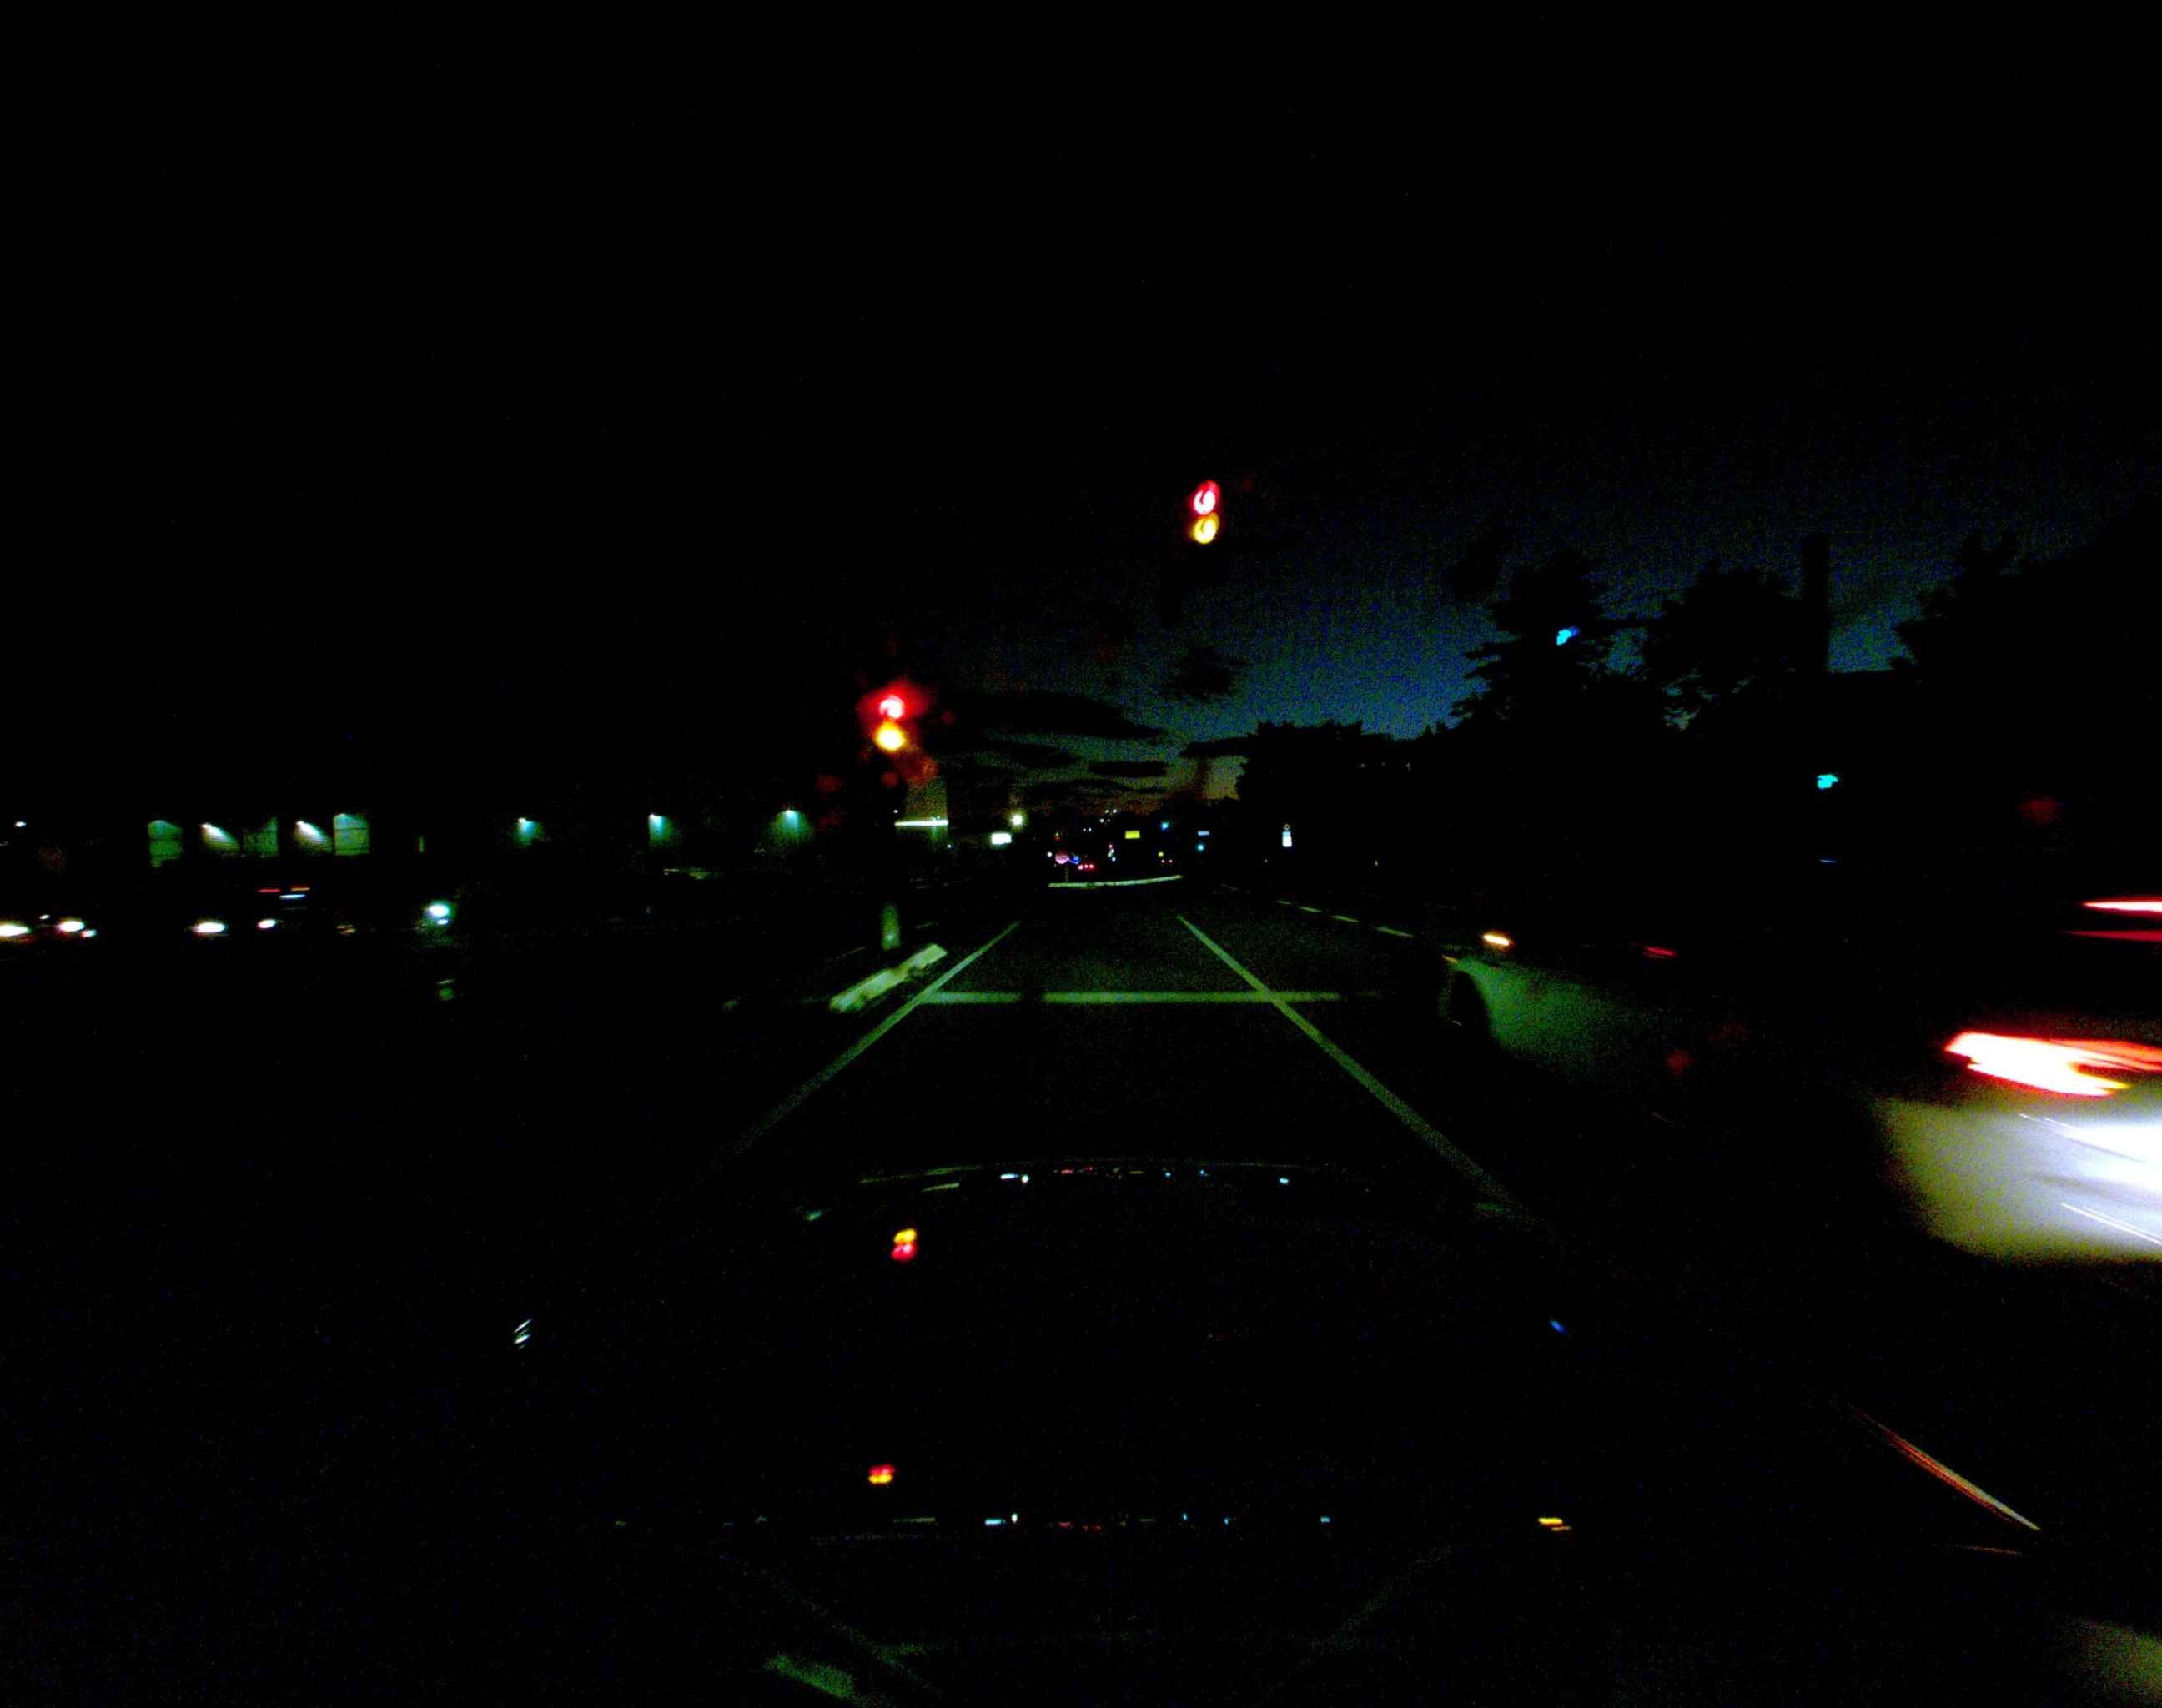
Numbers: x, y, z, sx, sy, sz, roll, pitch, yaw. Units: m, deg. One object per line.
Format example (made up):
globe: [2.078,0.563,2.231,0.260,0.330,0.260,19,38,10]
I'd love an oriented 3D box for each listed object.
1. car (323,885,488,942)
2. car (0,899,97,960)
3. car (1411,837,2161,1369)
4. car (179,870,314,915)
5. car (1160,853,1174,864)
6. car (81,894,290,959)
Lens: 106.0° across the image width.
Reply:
car: [-20.796,1.806,25.145,3.837,1.474,1.708,-3,-1,7]
car: [-30.240,2.103,22.774,3.777,1.459,1.693,-1,1,9]
car: [3.476,0.664,4.357,1.752,1.459,4.193,-1,0,0]
car: [-39.556,1.787,38.721,3.993,2.014,1.990,0,0,-15]
car: [14.404,0.788,136.704,1.928,1.646,4.001,-2,0,1]
car: [-23.427,1.884,21.369,3.964,1.460,1.764,-2,-1,8]
